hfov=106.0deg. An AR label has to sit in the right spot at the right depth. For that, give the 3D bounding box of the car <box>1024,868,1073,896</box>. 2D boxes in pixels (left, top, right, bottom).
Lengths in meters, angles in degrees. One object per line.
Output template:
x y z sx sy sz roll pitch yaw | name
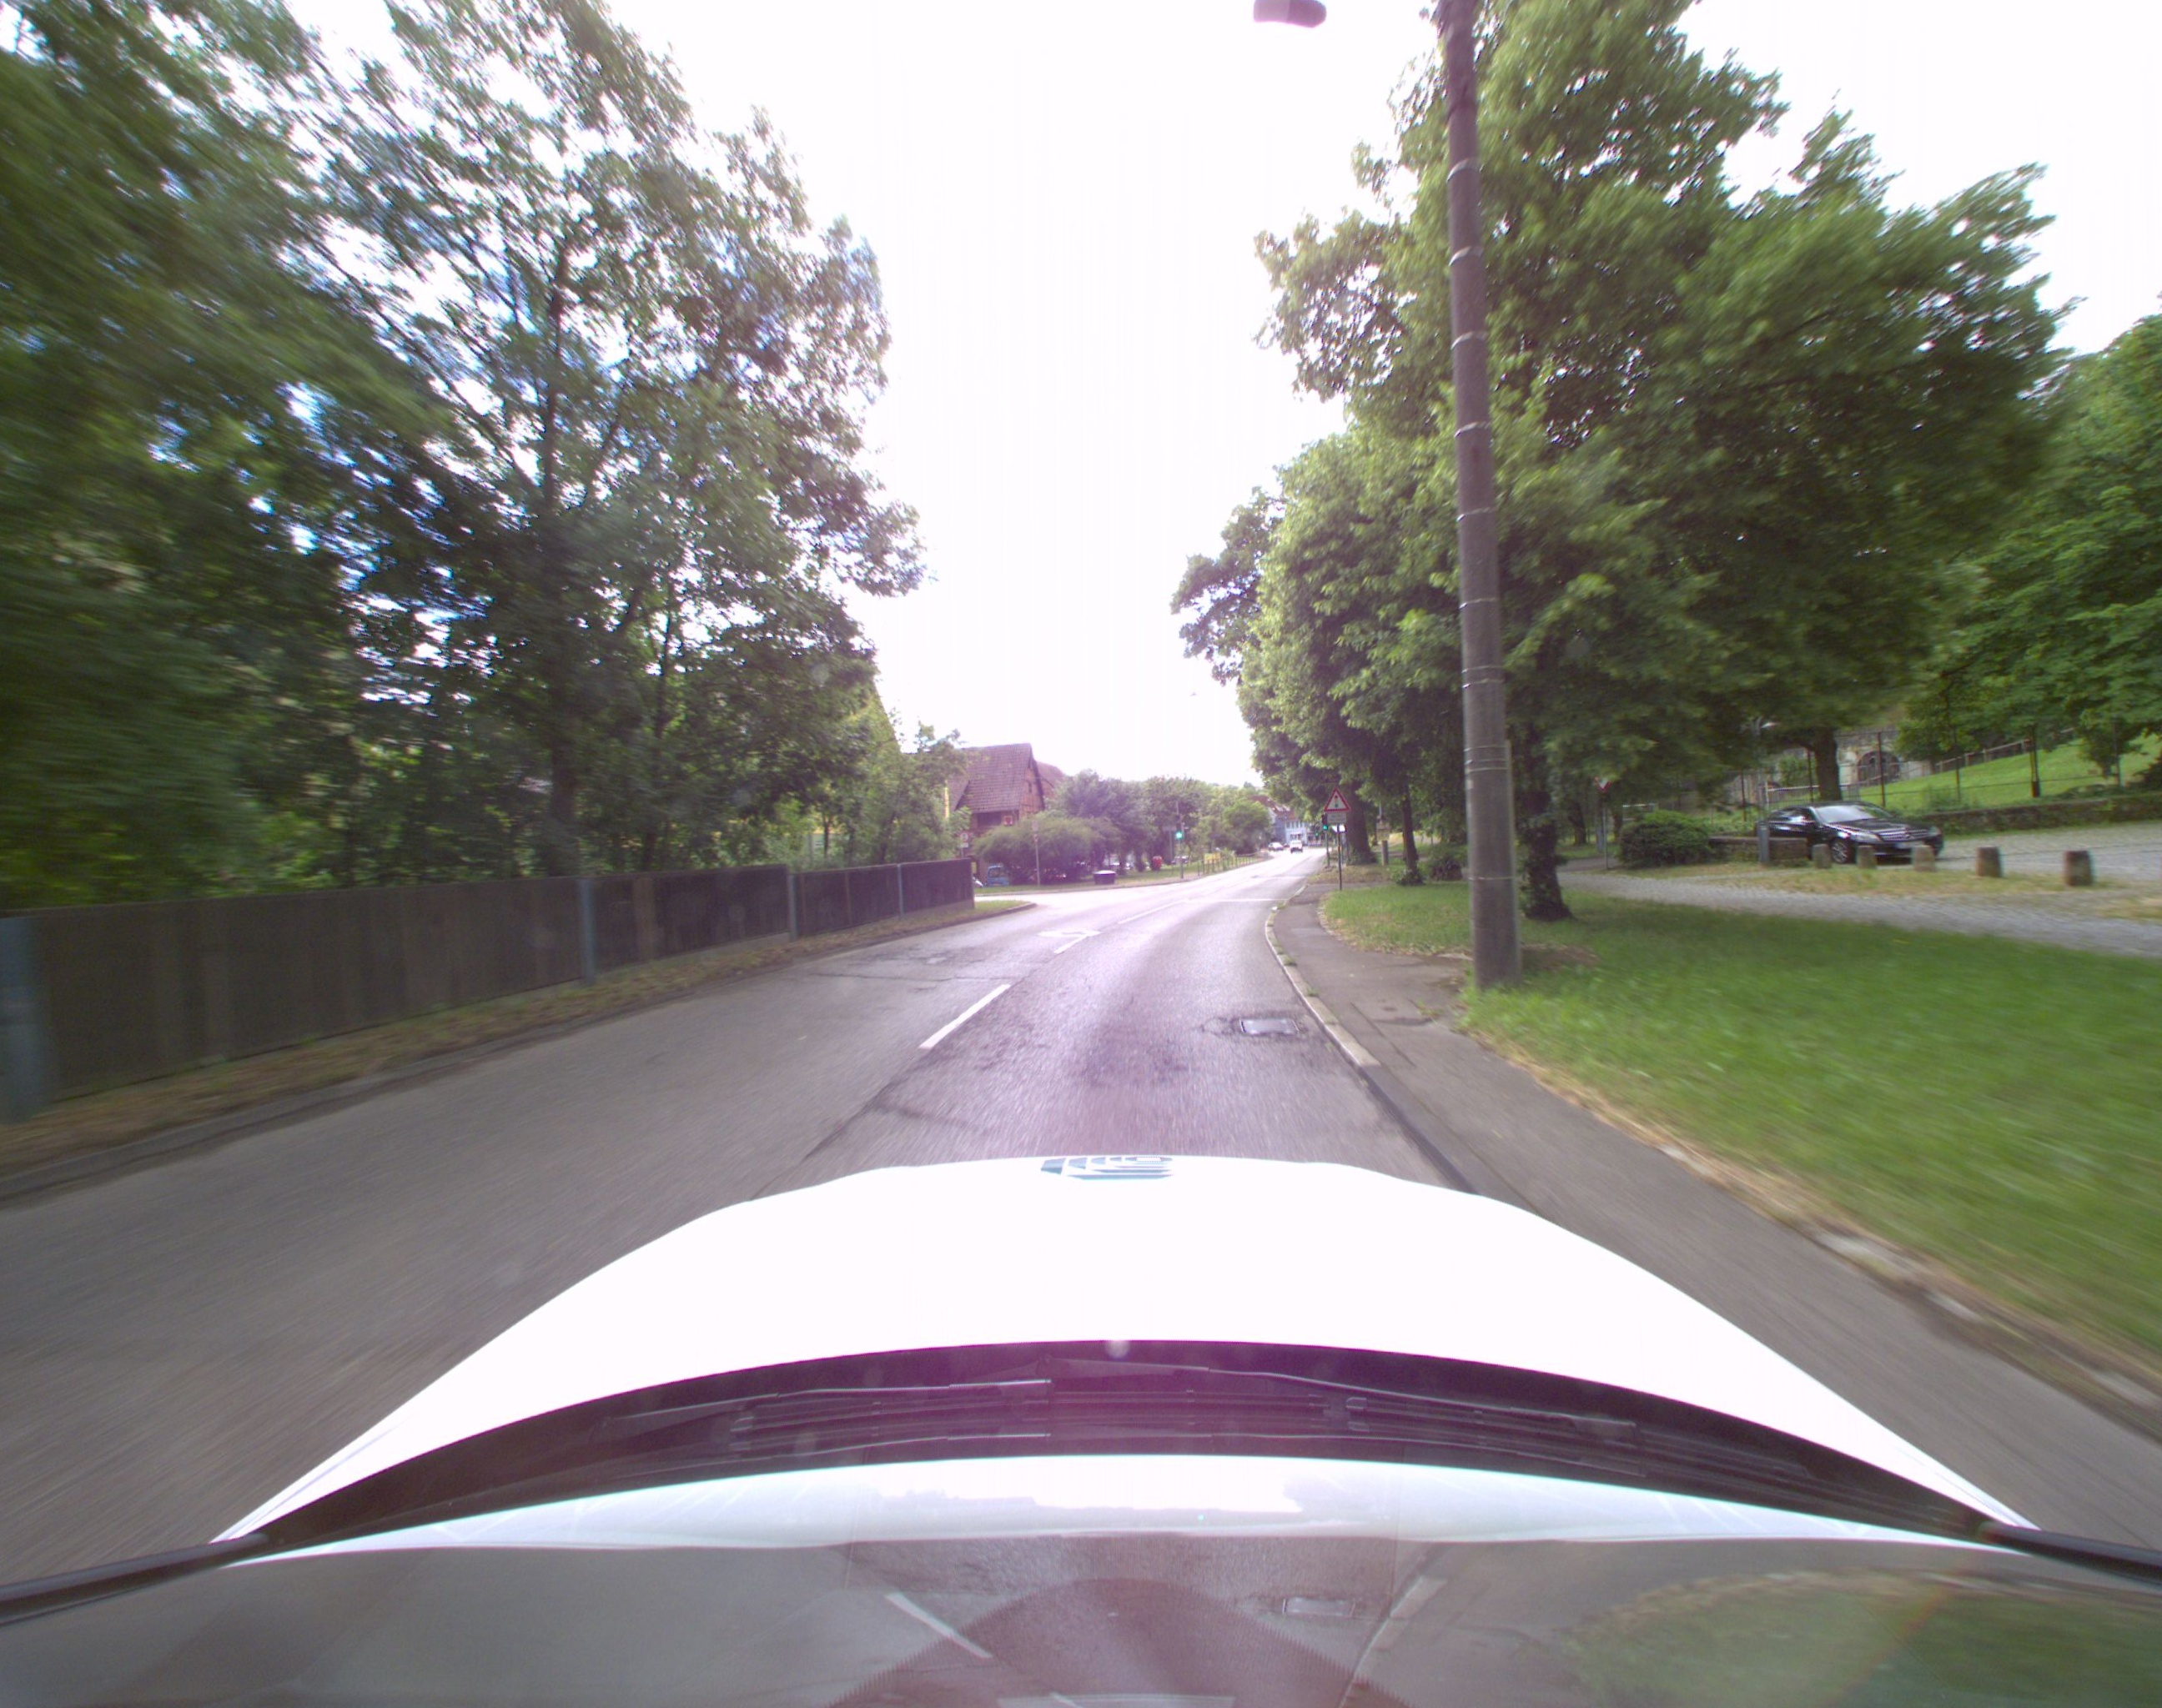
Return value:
-2.270 1.940 57.514 1.931 1.618 4.021 -5 -1 21 | car

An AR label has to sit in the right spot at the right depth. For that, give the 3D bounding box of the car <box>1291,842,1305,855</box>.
34.140 -0.915 127.891 1.831 1.930 4.791 -3 0 18 | car

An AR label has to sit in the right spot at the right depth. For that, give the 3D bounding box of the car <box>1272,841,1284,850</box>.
37.941 -1.707 156.777 1.691 1.511 4.019 -5 -1 18 | car

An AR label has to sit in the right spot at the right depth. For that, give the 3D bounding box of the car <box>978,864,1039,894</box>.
-4.558 1.559 51.879 1.977 1.618 4.470 -5 -1 20 | car

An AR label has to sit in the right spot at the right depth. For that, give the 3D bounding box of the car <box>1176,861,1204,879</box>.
12.119 1.755 90.147 1.903 1.695 4.023 -5 -1 24 | car

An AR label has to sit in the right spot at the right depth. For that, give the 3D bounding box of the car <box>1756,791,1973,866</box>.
18.684 -0.661 19.762 1.892 1.430 4.487 -5 2 17 | car

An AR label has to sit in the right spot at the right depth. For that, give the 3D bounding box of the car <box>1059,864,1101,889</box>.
-0.046 1.680 62.423 1.796 1.618 4.021 -5 -1 21 | car
